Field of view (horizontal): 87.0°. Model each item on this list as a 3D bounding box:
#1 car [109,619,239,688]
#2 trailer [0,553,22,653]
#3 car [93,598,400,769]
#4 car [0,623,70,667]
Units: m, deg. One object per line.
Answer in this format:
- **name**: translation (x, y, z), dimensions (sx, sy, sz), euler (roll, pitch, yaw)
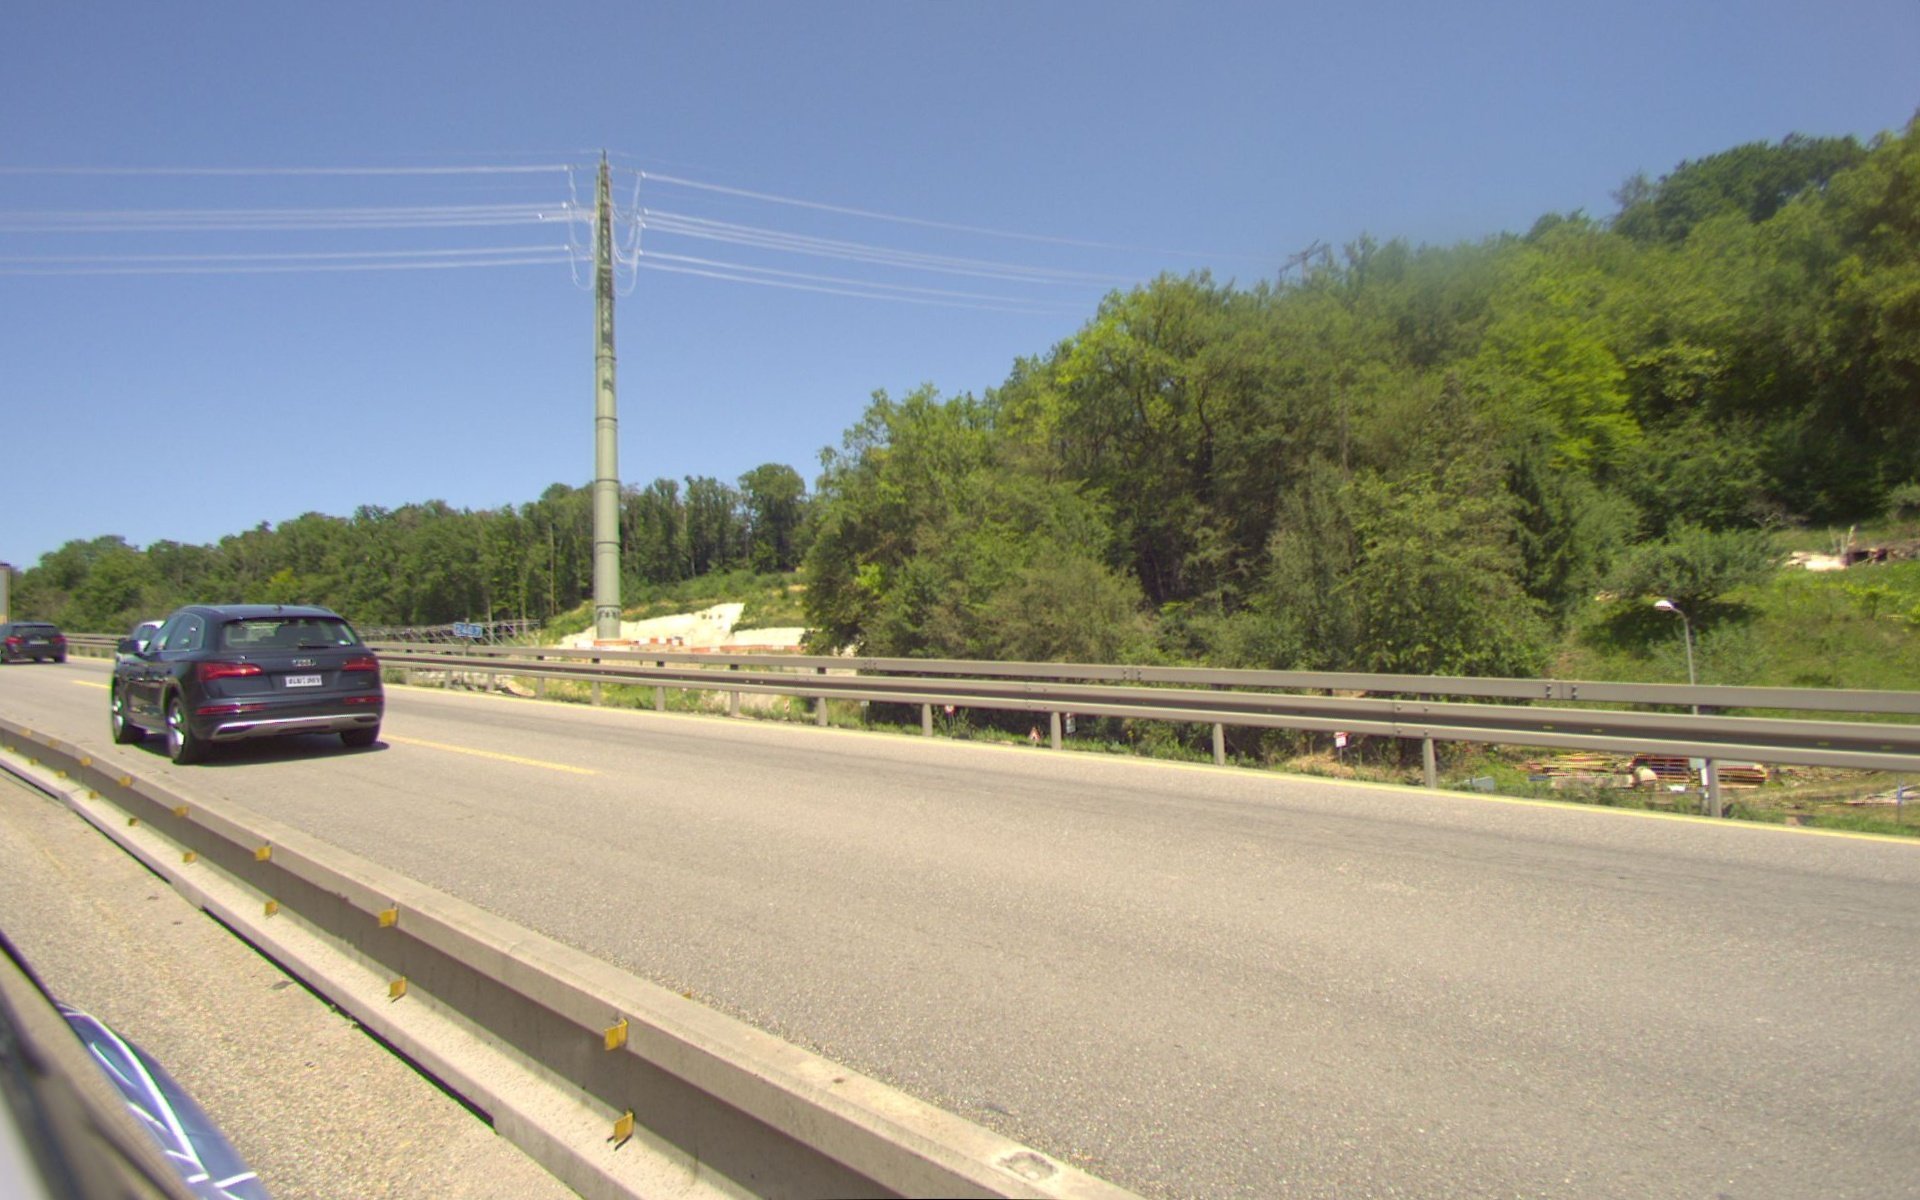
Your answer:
- **car**: translation (-18.790, 1.206, 24.137), dimensions (3.998, 1.504, 1.682), euler (-1, -1, 41)
- **trailer**: translation (-48.846, 0.226, 48.820), dimensions (12.912, 4.520, 3.455), euler (-1, 0, 39)
- **car**: translation (-8.410, 0.815, 11.762), dimensions (4.525, 1.608, 1.897), euler (-1, -1, 41)
- **car**: translation (-32.858, 1.547, 35.618), dimensions (4.301, 1.439, 1.758), euler (-1, -1, 41)
